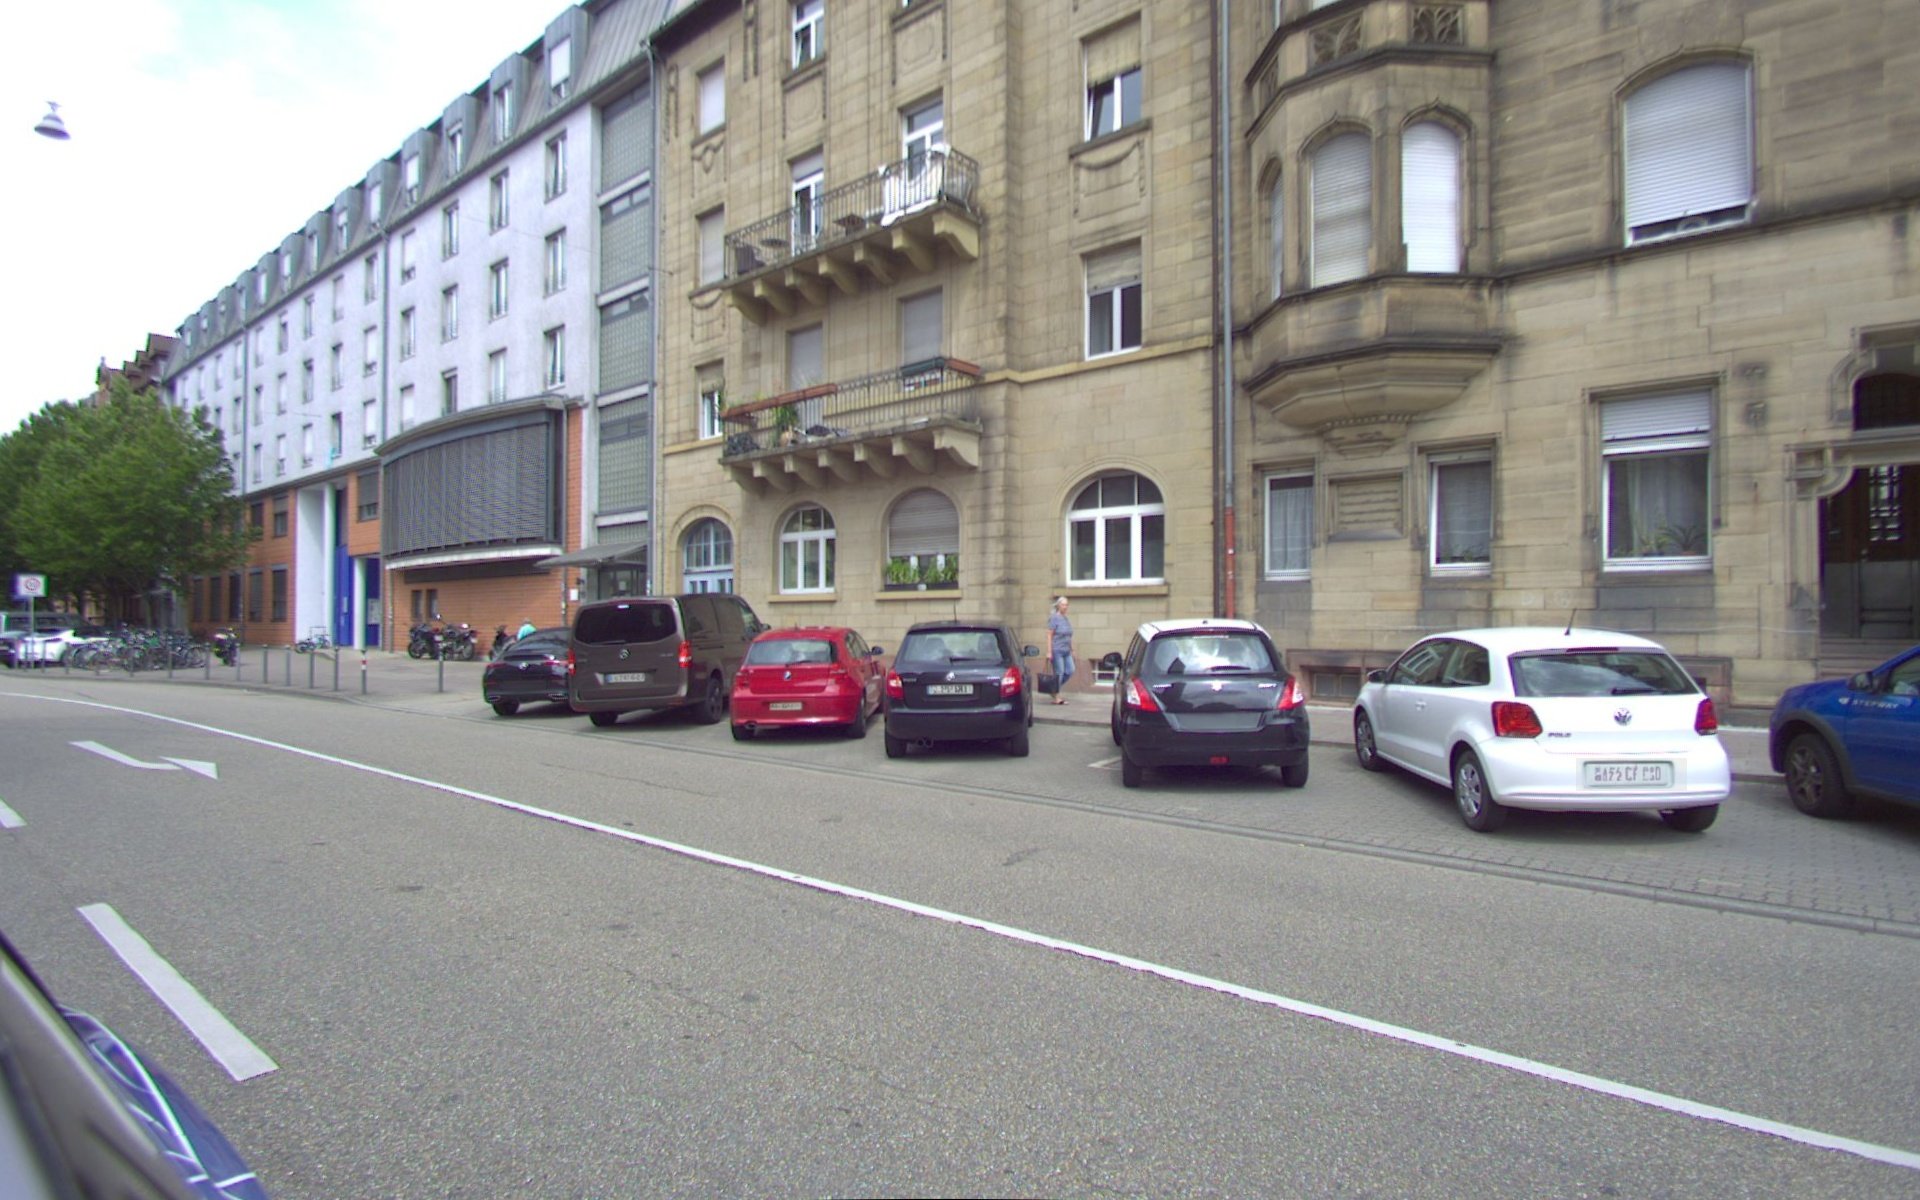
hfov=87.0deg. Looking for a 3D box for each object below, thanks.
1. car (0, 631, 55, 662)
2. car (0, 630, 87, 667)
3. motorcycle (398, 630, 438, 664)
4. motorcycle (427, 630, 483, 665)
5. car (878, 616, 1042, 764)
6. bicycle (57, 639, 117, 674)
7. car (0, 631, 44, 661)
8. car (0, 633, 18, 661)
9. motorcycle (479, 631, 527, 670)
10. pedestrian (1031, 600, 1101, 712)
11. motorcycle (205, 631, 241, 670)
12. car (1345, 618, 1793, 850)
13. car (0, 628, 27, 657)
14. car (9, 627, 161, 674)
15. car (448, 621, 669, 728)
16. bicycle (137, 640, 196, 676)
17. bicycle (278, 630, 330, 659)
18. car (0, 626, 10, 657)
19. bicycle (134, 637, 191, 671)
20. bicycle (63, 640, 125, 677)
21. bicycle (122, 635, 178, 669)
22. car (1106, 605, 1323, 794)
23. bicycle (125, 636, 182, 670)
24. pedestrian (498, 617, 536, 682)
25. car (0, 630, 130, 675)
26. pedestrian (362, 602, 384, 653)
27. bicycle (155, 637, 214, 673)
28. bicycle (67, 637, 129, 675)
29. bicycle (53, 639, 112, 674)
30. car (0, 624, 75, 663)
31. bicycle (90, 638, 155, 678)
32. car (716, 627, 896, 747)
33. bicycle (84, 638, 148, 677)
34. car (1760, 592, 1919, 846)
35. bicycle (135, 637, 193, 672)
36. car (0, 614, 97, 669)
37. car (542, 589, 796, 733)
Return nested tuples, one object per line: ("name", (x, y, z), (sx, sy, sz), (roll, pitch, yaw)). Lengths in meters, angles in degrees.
("car", (-45.361, 2.210, 47.711), (1.577, 1.400, 3.996), (-1, -2, 7))
("car", (-39.130, 2.026, 42.269), (1.606, 1.457, 3.996), (-1, -2, 7))
("motorcycle", (-17.684, 1.522, 33.025), (1.655, 1.057, 0.577), (-2, -1, 40))
("motorcycle", (-15.751, 1.492, 31.567), (1.959, 1.057, 0.579), (-2, -1, 30))
("car", (0.152, 0.978, 12.446), (1.611, 1.514, 3.989), (-1, -2, 6))
("bicycle", (-27.937, 1.793, 32.401), (0.402, 1.034, 1.391), (-2, 0, 43))
("car", (-47.104, 2.240, 49.003), (1.671, 1.465, 3.996), (-1, -2, 7))
("car", (-55.173, 2.649, 56.224), (1.671, 1.580, 3.996), (-1, -2, 7))
("motorcycle", (-13.096, 1.431, 28.978), (1.793, 1.057, 0.577), (-2, -1, 42))
("pedestrian", (1.606, 0.825, 15.317), (0.678, 1.607, 0.783), (-2, 0, 41))
("motorcycle", (-23.195, 1.588, 31.841), (1.779, 1.181, 0.577), (-2, -1, 43))
("car", (4.665, 0.922, 8.466), (1.720, 1.493, 3.680), (-1, -2, 5))
("car", (-53.121, 2.342, 54.606), (1.671, 1.580, 3.996), (-1, -2, 7))
("car", (-30.392, 1.712, 35.304), (1.583, 1.557, 3.997), (-1, -2, 7))
("car", (-6.843, 1.189, 17.884), (1.874, 1.420, 4.669), (-2, 1, 2))
("bicycle", (-24.533, 1.784, 31.311), (0.402, 1.034, 1.390), (-2, -2, 43))
("bicycle", (-25.945, 1.747, 40.029), (1.590, 0.933, 0.933), (-6, 2, -37))
("car", (-59.757, 2.506, 60.604), (1.671, 1.872, 4.035), (-1, -2, 7))
("bicycle", (-25.244, 1.699, 32.054), (0.402, 1.034, 1.390), (-2, -2, 43))
("bicycle", (-26.988, 1.808, 31.552), (0.402, 1.034, 1.391), (-2, 0, 43))
("bicycle", (-26.279, 1.684, 32.849), (0.402, 1.034, 1.390), (-2, -2, 43))
("car", (2.463, 0.895, 10.631), (1.776, 1.576, 4.001), (-1, -2, 9))
("bicycle", (-25.914, 1.692, 32.529), (0.402, 1.034, 1.390), (-2, -2, 43))
("pedestrian", (-10.477, 1.159, 23.940), (0.509, 1.497, 0.653), (-2, -2, 43))
("car", (-32.681, 1.840, 36.453), (1.697, 1.480, 4.307), (-1, -2, 7))
("pedestrian", (-23.619, 1.097, 40.726), (0.718, 2.029, 0.785), (1, -2, -29))
("bicycle", (-23.468, 1.660, 30.647), (0.402, 1.034, 1.390), (-2, -2, 43))
("bicycle", (-26.507, 1.710, 31.131), (0.402, 1.046, 1.391), (-2, 0, 43))
("bicycle", (-28.539, 1.839, 32.938), (0.402, 1.034, 1.391), (-2, 0, 43))
("car", (-41.189, 1.886, 43.976), (1.692, 1.627, 3.996), (-1, -2, 7))
("bicycle", (-24.246, 1.675, 29.324), (0.402, 1.046, 1.391), (-2, 0, 43))
("car", (-1.973, 1.099, 14.109), (1.772, 1.420, 4.009), (0, -2, 2))
("bicycle", (-24.929, 1.680, 29.897), (0.402, 1.046, 1.391), (-2, 0, 43))
("car", (7.089, 0.761, 6.097), (1.703, 1.664, 3.772), (-1, -2, 5))
("bicycle", (-24.921, 1.707, 31.684), (0.402, 1.034, 1.390), (-2, -2, 43))
("car", (-37.077, 1.620, 40.231), (1.841, 2.013, 3.993), (-1, 0, 10))
("car", (-4.382, 0.899, 16.336), (2.096, 1.924, 5.260), (-1, -2, 7))
